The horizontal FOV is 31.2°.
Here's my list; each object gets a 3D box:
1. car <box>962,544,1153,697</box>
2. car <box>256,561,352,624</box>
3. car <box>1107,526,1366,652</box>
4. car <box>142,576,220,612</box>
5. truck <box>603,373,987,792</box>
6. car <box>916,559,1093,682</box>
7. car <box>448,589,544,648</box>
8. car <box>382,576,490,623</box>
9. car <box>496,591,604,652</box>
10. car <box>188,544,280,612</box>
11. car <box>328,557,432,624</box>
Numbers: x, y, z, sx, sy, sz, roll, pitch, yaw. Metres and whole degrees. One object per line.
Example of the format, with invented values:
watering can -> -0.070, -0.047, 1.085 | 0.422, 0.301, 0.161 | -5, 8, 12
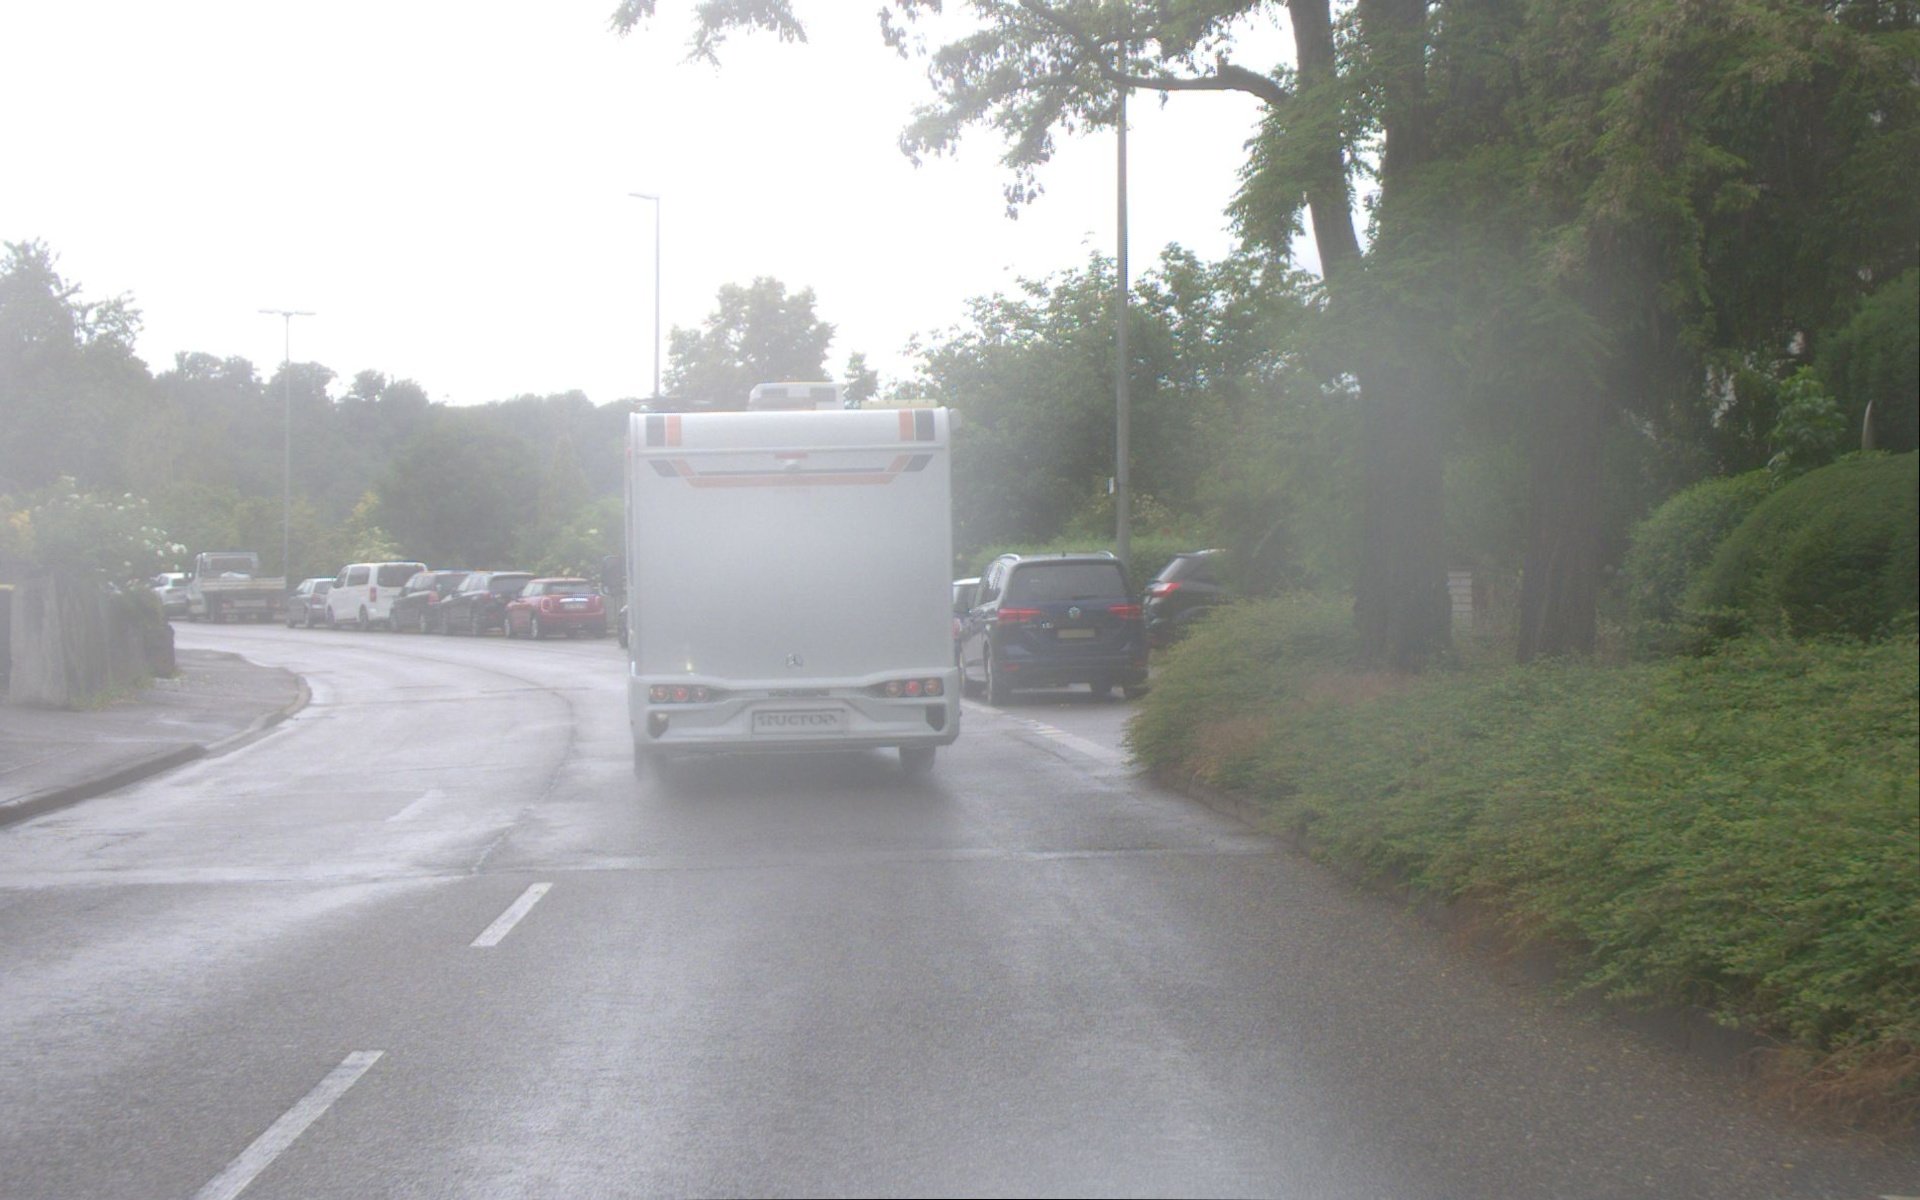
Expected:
car -> 1.055, 0.207, 39.098 | 1.993, 1.634, 4.000 | 1, 0, -1
car -> -19.389, -0.199, 101.535 | 1.645, 1.715, 4.000 | 4, -3, -27
car -> 4.237, -0.154, 53.072 | 3.623, 1.658, 2.000 | 3, -2, -5
car -> -27.095, -0.208, 119.524 | 1.645, 1.097, 4.000 | 4, -3, -27
truck -> -1.431, -0.153, 26.378 | 2.515, 2.808, 6.203 | -1, 1, -6
car -> 0.534, 0.246, 44.705 | 1.854, 1.512, 4.001 | 1, 0, -6
car -> -11.619, 0.473, 85.935 | 1.539, 1.322, 4.001 | 4, -2, -19
car -> -13.968, 0.004, 91.494 | 1.645, 1.097, 4.000 | 4, -3, -27
car -> -9.717, 0.526, 81.288 | 1.539, 1.322, 3.865 | 4, -3, -21
car -> -23.791, -0.699, 112.609 | 1.739, 2.037, 4.514 | 4, -3, -27
car -> -16.254, -0.242, 96.200 | 1.645, 1.715, 4.000 | 4, -3, -27
